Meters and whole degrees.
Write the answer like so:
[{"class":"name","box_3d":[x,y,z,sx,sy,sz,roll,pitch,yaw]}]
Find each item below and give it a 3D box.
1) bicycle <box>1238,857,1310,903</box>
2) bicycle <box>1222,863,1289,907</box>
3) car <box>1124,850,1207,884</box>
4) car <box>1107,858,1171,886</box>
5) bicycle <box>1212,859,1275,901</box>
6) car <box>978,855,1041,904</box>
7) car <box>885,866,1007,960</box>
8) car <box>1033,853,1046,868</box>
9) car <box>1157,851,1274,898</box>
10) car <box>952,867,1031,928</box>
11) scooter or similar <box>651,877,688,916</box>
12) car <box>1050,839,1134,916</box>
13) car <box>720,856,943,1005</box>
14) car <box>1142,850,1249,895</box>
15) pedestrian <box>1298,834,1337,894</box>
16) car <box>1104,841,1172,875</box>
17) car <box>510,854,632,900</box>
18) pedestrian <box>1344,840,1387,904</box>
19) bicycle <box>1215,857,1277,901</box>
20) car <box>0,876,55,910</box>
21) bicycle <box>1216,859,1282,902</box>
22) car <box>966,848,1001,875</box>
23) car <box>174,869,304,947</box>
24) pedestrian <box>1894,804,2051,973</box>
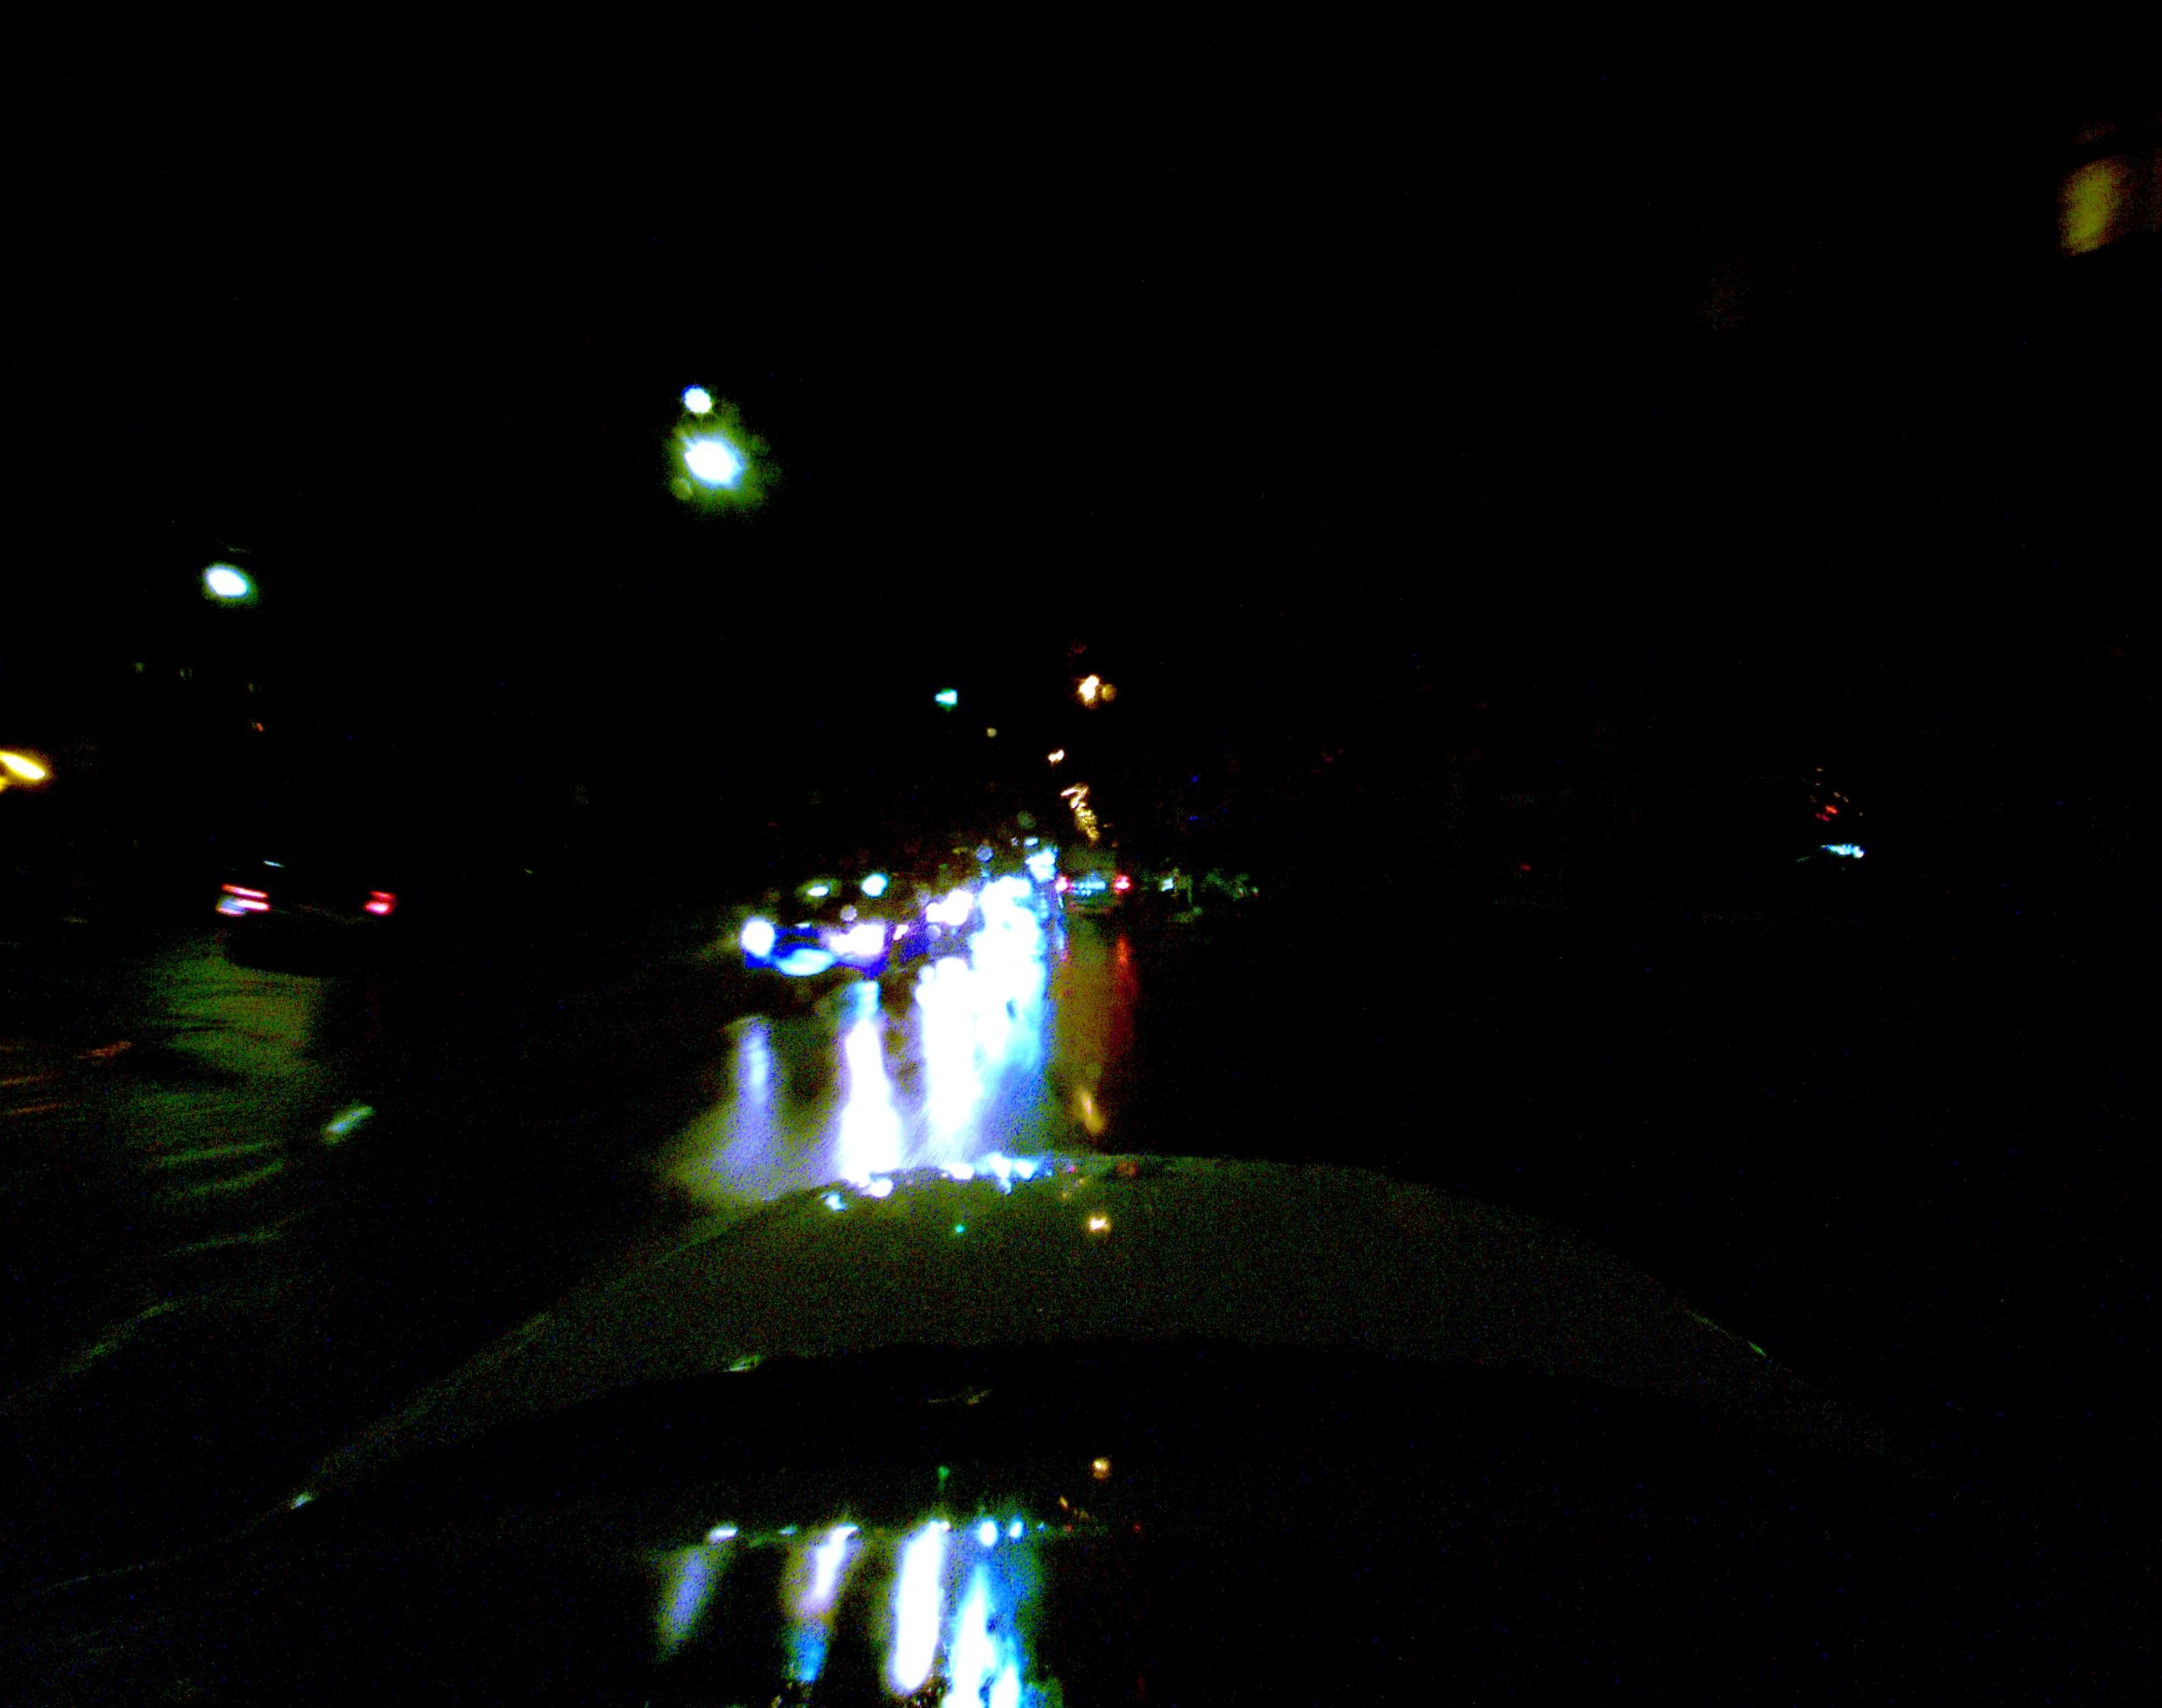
[{"class":"bicycle","box_3d":[5.710,0.766,24.170,1.893,1.251,0.709,-3,-1,-4]},{"class":"bicycle","box_3d":[5.369,0.942,25.074,1.893,1.251,0.595,-3,-1,-4]},{"class":"car","box_3d":[4.690,0.710,45.152,4.186,1.645,1.758,-3,1,-20]},{"class":"car","box_3d":[3.968,1.221,55.202,4.205,1.645,1.750,-3,1,-37]},{"class":"bicycle","box_3d":[5.273,0.835,26.473,1.893,1.251,0.595,-3,-1,-4]},{"class":"car","box_3d":[-2.482,0.841,29.259,1.782,1.554,4.854,-1,0,0]},{"class":"car","box_3d":[-2.567,1.077,16.369,1.662,1.562,4.009,-1,0,1]},{"class":"car","box_3d":[-5.779,0.876,112.640,1.720,1.972,4.217,-1,0,-2]},{"class":"car","box_3d":[5.041,0.713,30.287,4.205,1.457,1.836,-3,1,-37]},{"class":"car","box_3d":[-2.338,1.124,22.258,1.663,1.420,4.097,-1,0,0]},{"class":"scooter or similar","box_3d":[-13.639,1.409,26.984,1.081,1.240,0.283,-1,0,-27]},{"class":"car","box_3d":[0.335,0.612,23.592,2.160,1.972,4.303,-1,0,1]},{"class":"car","box_3d":[-2.988,0.818,10.670,1.701,1.542,3.987,-1,0,-1]},{"class":"car","box_3d":[4.715,0.723,33.220,4.205,1.576,1.861,-3,1,-37]},{"class":"pedestrian","box_3d":[7.565,0.308,26.143,0.954,1.881,1.000,-1,0,1]},{"class":"car","box_3d":[4.434,0.293,63.128,5.034,2.391,2.115,-3,1,-37]},{"class":"car","box_3d":[-22.231,0.946,35.664,1.682,1.700,4.218,0,2,26]},{"class":"pedestrian","box_3d":[7.494,0.464,21.485,0.778,1.618,1.000,-1,0,1]},{"class":"bicycle","box_3d":[5.475,0.827,27.108,1.893,1.360,0.595,-3,-1,-4]},{"class":"car","box_3d":[-61.243,2.213,46.471,4.282,1.780,2.099,-1,0,21]},{"class":"bicycle","box_3d":[5.315,0.829,25.800,1.893,1.251,0.595,-3,-1,-4]},{"class":"car","box_3d":[-7.461,0.549,61.915,1.995,1.972,4.278,-1,0,-16]},{"class":"car","box_3d":[-22.051,1.316,21.285,4.277,1.780,1.910,-1,0,38]},{"class":"pedestrian","box_3d":[11.186,0.392,10.276,0.965,2.013,1.021,-1,3,19]}]
